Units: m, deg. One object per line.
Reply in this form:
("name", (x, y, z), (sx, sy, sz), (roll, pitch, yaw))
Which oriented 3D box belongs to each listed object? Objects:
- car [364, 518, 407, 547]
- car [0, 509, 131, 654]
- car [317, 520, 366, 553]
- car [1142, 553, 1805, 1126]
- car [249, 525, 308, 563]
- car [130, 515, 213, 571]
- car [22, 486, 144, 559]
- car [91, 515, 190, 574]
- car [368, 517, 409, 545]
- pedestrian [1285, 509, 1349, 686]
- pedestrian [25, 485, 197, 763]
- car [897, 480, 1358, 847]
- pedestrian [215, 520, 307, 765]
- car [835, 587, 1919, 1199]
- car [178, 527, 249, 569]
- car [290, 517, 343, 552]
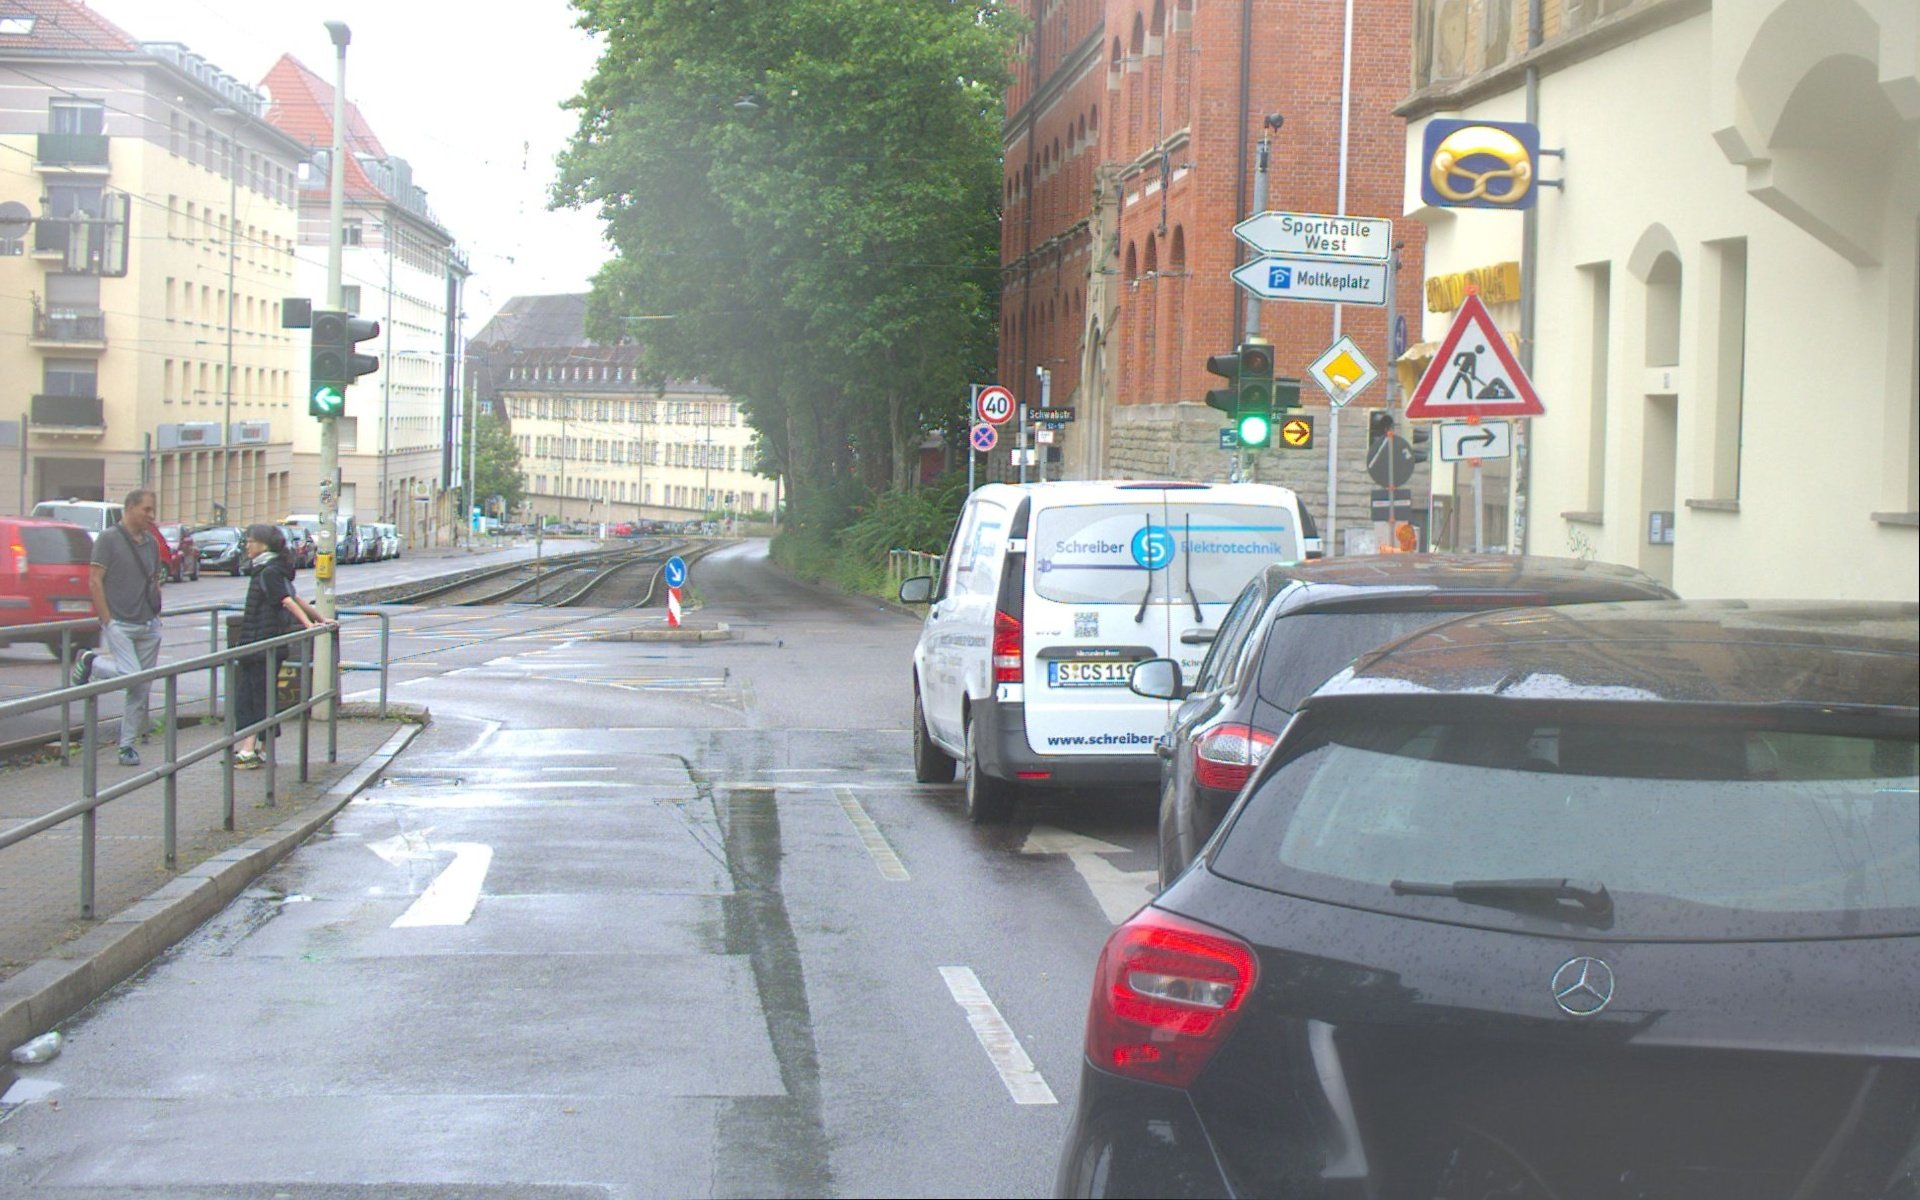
("car", (-24.022, -2.810, 143.731), (1.395, 1.167, 3.162), (1, 1, -3))
("car", (-10.877, -0.239, 36.969), (3.606, 1.484, 1.683), (1, 1, 28))
("car", (-22.720, -2.337, 126.359), (1.395, 1.167, 3.162), (1, 1, -3))
("car", (1.477, 0.605, 11.301), (1.713, 1.464, 4.281), (2, 1, 3))
("car", (-21.584, -1.786, 108.913), (1.395, 1.167, 3.162), (1, 1, -3))
("car", (-19.969, -1.443, 87.163), (1.499, 1.351, 3.162), (1, 1, -3))
("car", (-19.516, -1.719, 76.680), (1.786, 1.525, 4.463), (1, 1, -3))
("car", (-19.805, -1.343, 83.210), (1.680, 1.351, 3.703), (1, 1, -3))
("car", (-24.626, -2.959, 148.194), (1.395, 1.167, 3.162), (1, 1, -3))
("pedestrian", (2.592, -0.021, 24.963), (0.412, 1.266, 0.292), (2, 1, 2))
("pedestrian", (-5.397, 0.145, 21.851), (0.740, 1.718, 0.739), (2, 1, 43))
("car", (0.816, 0.275, 19.588), (1.933, 1.825, 4.282), (1, 1, -6))
("pedestrian", (-4.429, 0.264, 21.801), (0.531, 1.525, 0.437), (1, 1, -11))
("car", (1.557, 0.701, 6.085), (1.897, 1.385, 3.994), (2, 1, 26))
("car", (-20.721, -1.447, 95.524), (1.437, 1.103, 3.162), (1, 1, -3))
("car", (-22.449, -2.303, 120.018), (1.395, 1.167, 3.162), (1, 1, -3))
